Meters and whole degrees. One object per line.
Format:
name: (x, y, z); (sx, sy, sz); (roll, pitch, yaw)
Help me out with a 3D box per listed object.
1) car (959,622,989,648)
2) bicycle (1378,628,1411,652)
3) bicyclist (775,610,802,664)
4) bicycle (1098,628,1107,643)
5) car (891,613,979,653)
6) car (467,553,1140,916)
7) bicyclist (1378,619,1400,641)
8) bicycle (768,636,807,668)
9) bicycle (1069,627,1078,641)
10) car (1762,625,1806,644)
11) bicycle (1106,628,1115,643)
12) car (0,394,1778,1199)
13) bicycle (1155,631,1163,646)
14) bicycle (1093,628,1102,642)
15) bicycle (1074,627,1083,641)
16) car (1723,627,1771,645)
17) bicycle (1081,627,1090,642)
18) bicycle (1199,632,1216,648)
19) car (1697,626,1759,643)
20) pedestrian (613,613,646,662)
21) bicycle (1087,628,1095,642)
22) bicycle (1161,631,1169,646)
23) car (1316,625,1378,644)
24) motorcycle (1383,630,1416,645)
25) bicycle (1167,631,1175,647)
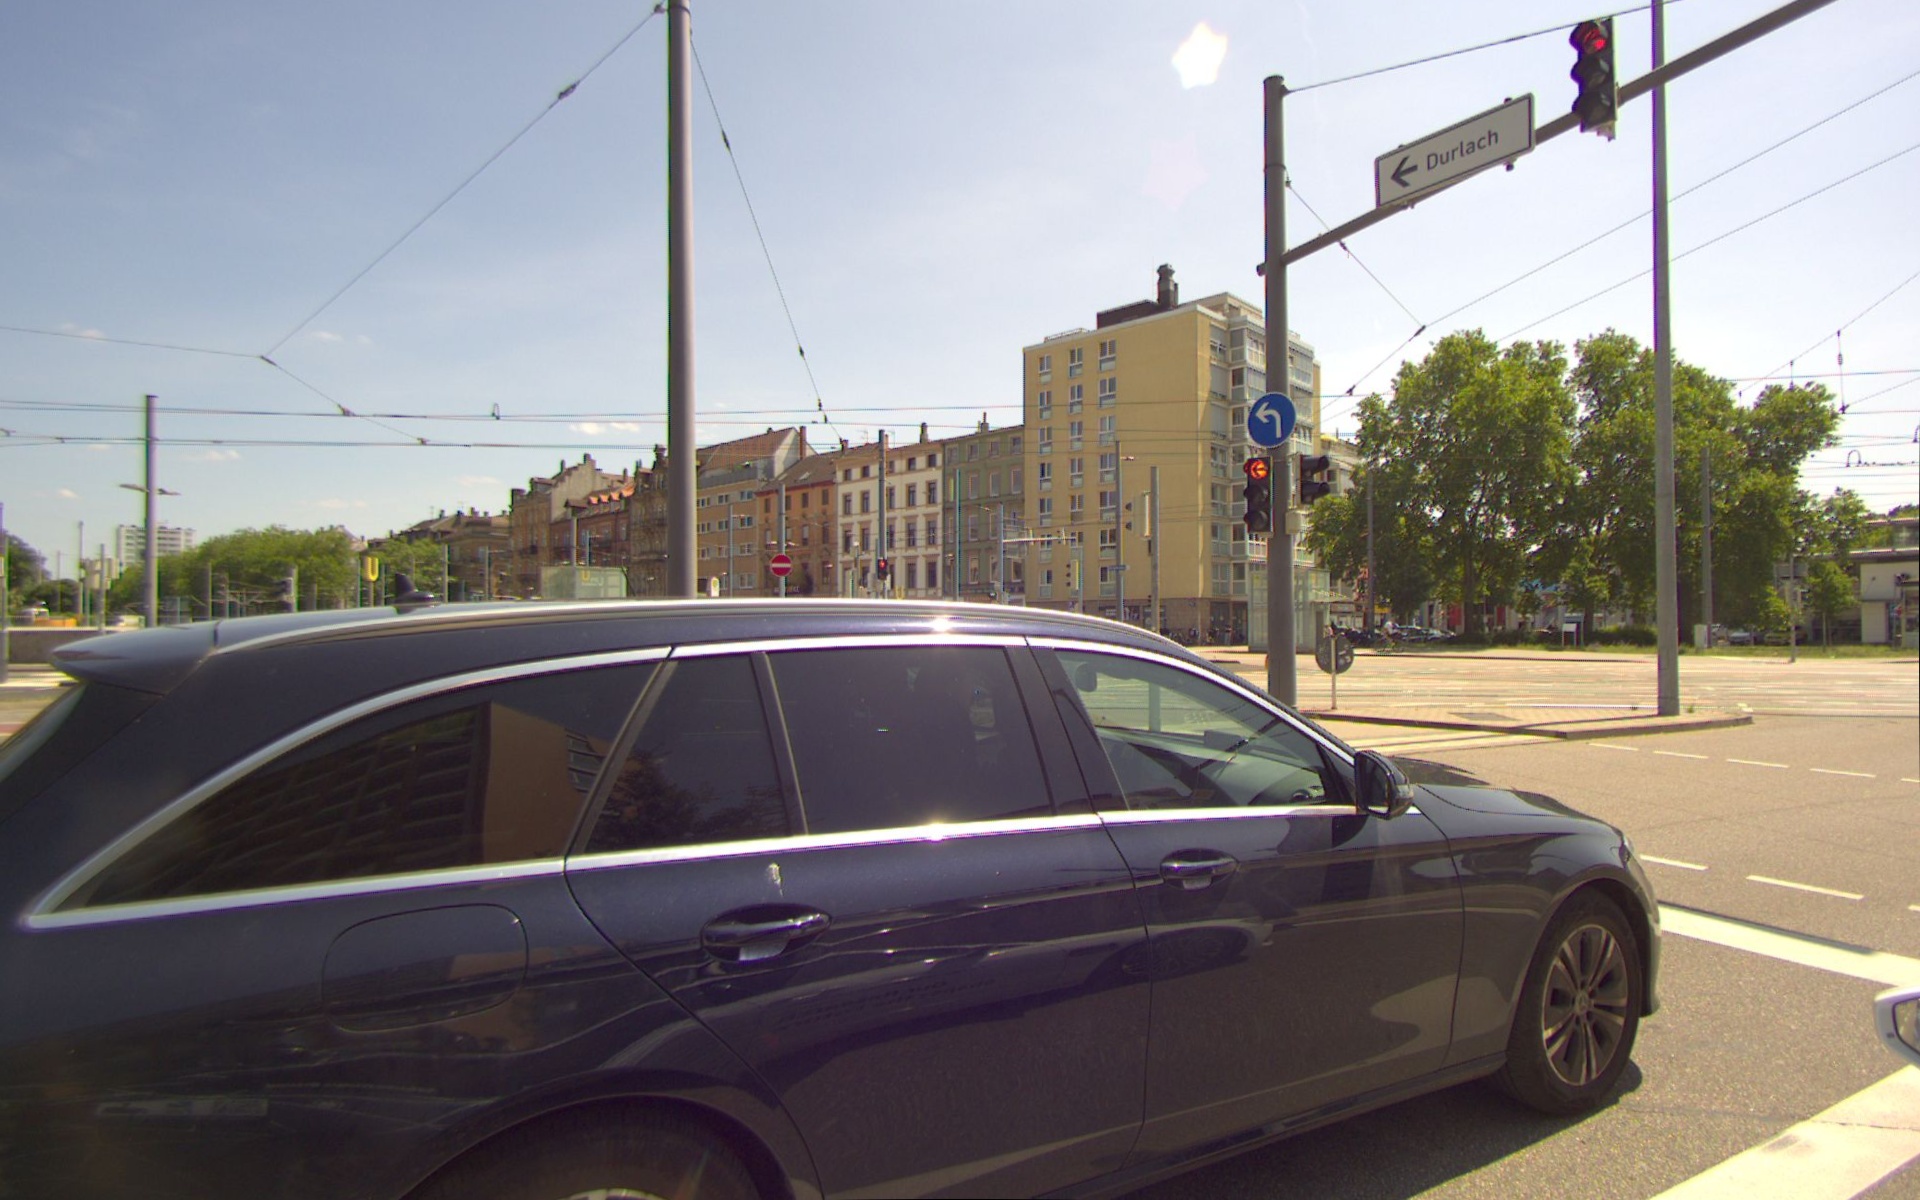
car: (0.932, 2.433, 70.713); (1.803, 1.773, 3.998); (0, -1, -4)
bicycle: (23.068, 2.119, 53.317); (1.489, 1.233, 0.713); (-1, -2, 44)
bicyclist: (-5.119, 1.090, 29.991); (0.433, 1.549, 1.245); (2, 0, -26)
bicycle: (10.320, 2.555, 72.629); (0.424, 1.040, 1.445); (0, -1, 16)
car: (-1.381, 1.763, 54.121); (4.804, 2.084, 1.988); (-1, -2, 43)
car: (-0.896, 0.632, 6.104); (3.692, 1.597, 1.736); (1, -2, -30)
bicyclist: (22.854, 1.595, 53.531); (0.915, 1.157, 0.713); (-1, -2, 44)
bicycle: (-5.179, 1.542, 30.089); (0.620, 0.866, 1.887); (2, 0, -26)
bicycle: (8.431, 2.506, 74.406); (0.424, 1.040, 1.445); (0, -1, 16)
car: (69.318, 2.862, 84.492); (4.283, 1.530, 1.756); (1, -2, -35)
bicycle: (10.838, 2.570, 72.370); (0.424, 1.040, 1.445); (0, -1, 16)
car: (0.198, 0.620, 2.918); (4.747, 1.662, 1.789); (1, 0, -30)
bicycle: (13.694, 2.641, 69.196); (0.424, 1.040, 1.445); (0, -1, 16)
bicycle: (10.004, 2.547, 73.026); (0.424, 1.040, 1.445); (0, -1, 16)
bicycle: (8.773, 2.515, 74.068); (0.424, 1.040, 1.445); (0, -1, 16)
car: (68.220, 3.133, 87.033); (4.274, 1.530, 1.759); (1, -2, -29)
bicycle: (9.200, 2.526, 73.631); (0.424, 1.040, 1.445); (0, -1, 16)
bicycle: (16.852, 2.733, 68.353); (0.427, 1.040, 1.435); (-1, -2, 44)
car: (71.199, 3.190, 93.214); (4.245, 1.530, 1.771); (-1, -2, 26)
pedestrian: (-12.476, 1.408, 37.951); (1.114, 1.837, 0.677); (-1, -1, 38)
bicycle: (9.562, 2.535, 73.322); (0.424, 1.040, 1.445); (0, -1, 16)
bicycle: (14.068, 2.651, 68.885); (0.424, 1.040, 1.445); (0, -1, 16)
car: (29.387, 2.592, 76.367); (3.943, 1.439, 1.989); (-1, -2, 42)
motorcycle: (27.797, 2.376, 63.558); (1.887, 0.974, 0.524); (-1, -1, 31)
bicycle: (14.438, 2.661, 68.621); (0.424, 1.040, 1.445); (0, -1, 16)
